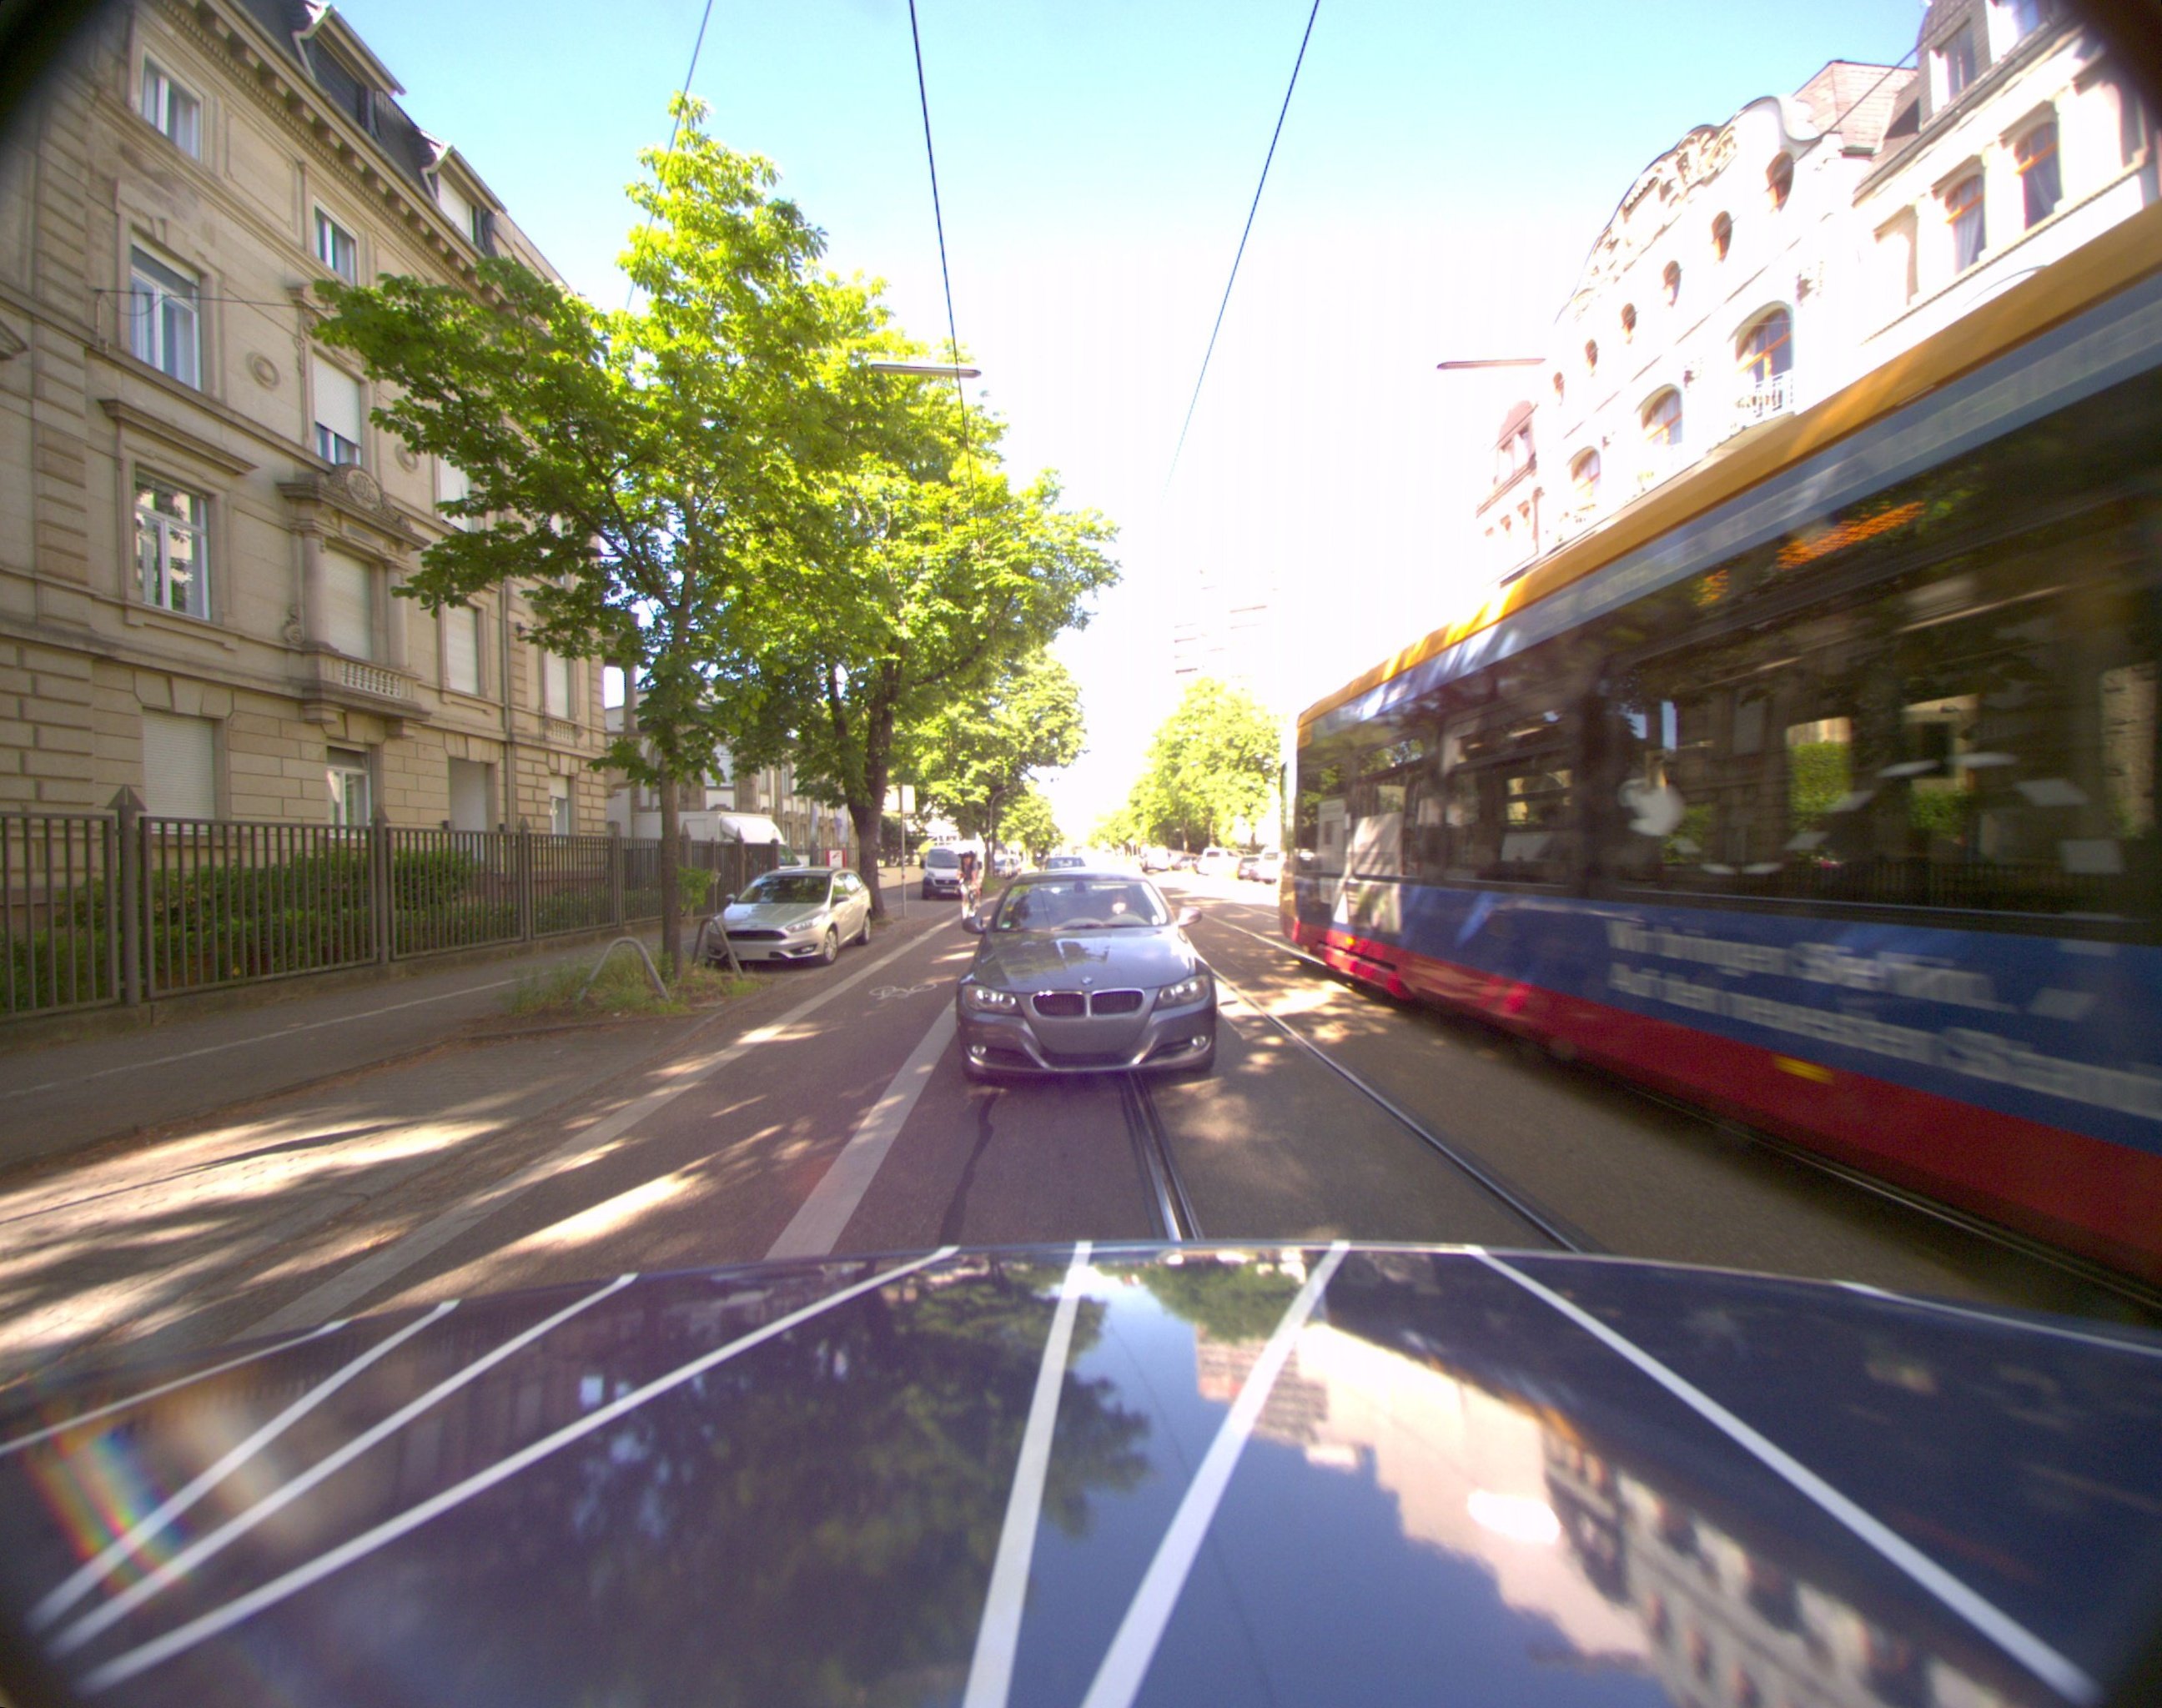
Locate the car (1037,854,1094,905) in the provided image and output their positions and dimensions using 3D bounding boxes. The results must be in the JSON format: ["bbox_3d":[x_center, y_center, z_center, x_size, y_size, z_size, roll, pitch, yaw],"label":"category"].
[{"bbox_3d":[-0.500,0.841,27.289,1.828,1.559,3.999,-2,1,1],"label":"car"}]

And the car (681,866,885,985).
[{"bbox_3d":[-4.719,1.035,12.787,1.877,1.534,4.364,0,1,-3],"label":"car"}]

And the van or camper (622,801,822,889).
[{"bbox_3d":[-12.184,-0.243,25.694,6.721,2.612,2.126,-2,1,24],"label":"van or camper"}]

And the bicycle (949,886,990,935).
[{"bbox_3d":[-2.513,1.257,17.266,0.535,0.917,2.057,-2,1,1],"label":"bicycle"}]

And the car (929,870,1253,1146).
[{"bbox_3d":[0.087,0.962,6.507,1.869,1.426,3.999,-2,1,1],"label":"car"}]

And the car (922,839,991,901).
[{"bbox_3d":[-5.000,0.556,31.294,2.132,2.329,5.803,0,1,-3],"label":"car"}]

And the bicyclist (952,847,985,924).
[{"bbox_3d":[-2.531,0.690,17.195,0.532,1.660,0.878,-2,1,1],"label":"bicyclist"}]

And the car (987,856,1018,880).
[{"bbox_3d":[-5.570,0.944,54.276,1.866,1.541,4.101,-2,1,-3],"label":"car"}]
